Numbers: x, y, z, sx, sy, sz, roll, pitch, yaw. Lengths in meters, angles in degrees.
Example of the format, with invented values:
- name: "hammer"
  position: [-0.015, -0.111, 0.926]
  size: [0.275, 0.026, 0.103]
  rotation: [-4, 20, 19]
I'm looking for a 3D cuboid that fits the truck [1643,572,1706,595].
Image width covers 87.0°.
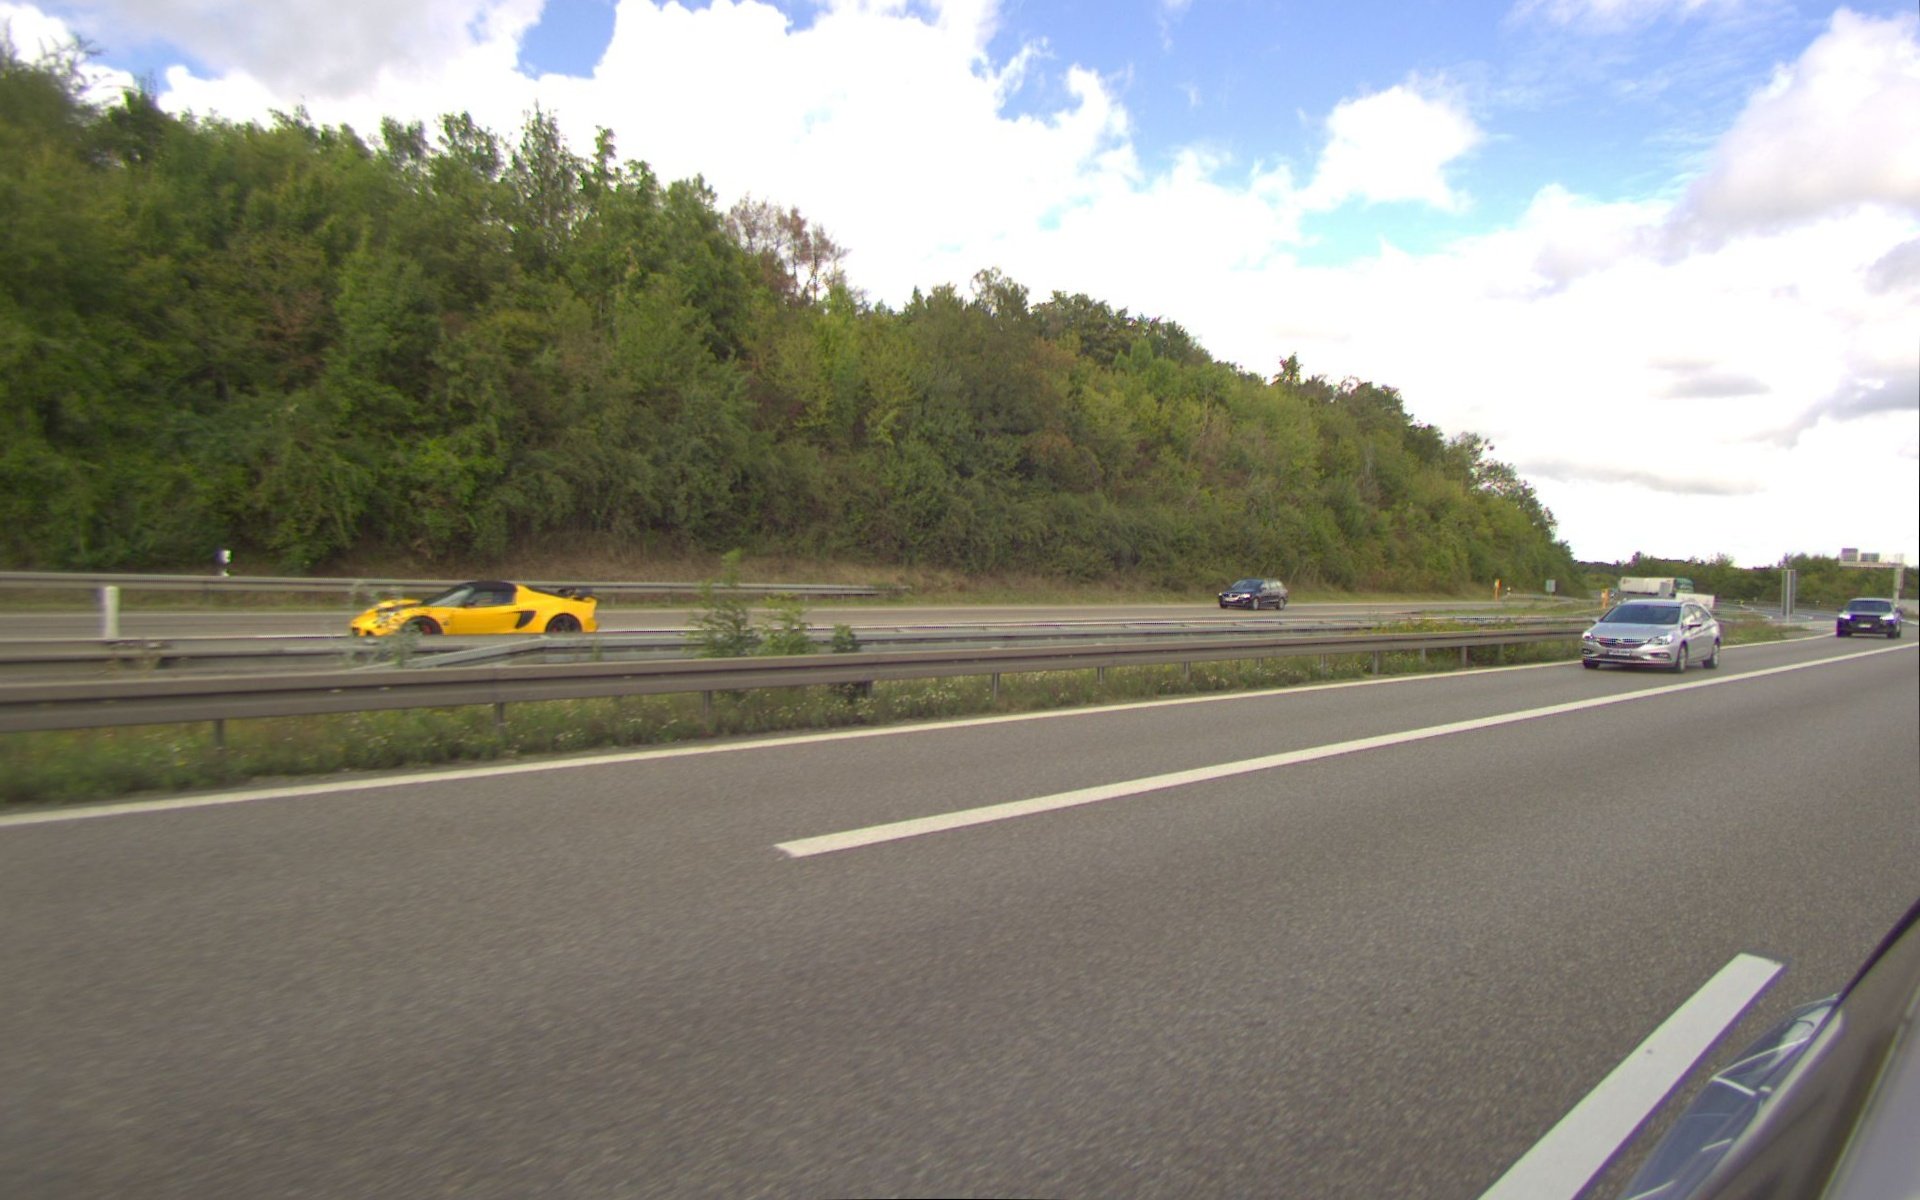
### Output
- name: "truck"
  position: [128.037, -2.971, 181.630]
  size: [2.918, 3.845, 13.439]
  rotation: [1, 1, 6]

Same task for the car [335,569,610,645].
- name: "car"
  position: [-8.533, 0.106, 17.909]
  size: [4.096, 1.196, 1.715]
  rotation: [0, 1, -41]

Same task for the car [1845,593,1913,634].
- name: "car"
  position: [40.264, 0.559, 44.286]
  size: [4.778, 1.656, 1.873]
  rotation: [0, 1, -44]

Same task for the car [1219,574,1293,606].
- name: "car"
  position: [13.999, -0.470, 47.785]
  size: [1.711, 1.433, 4.104]
  rotation: [3, 2, 42]

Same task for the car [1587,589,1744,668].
- name: "car"
  position: [15.194, 0.545, 21.703]
  size: [4.535, 1.503, 1.687]
  rotation: [0, 1, -41]
